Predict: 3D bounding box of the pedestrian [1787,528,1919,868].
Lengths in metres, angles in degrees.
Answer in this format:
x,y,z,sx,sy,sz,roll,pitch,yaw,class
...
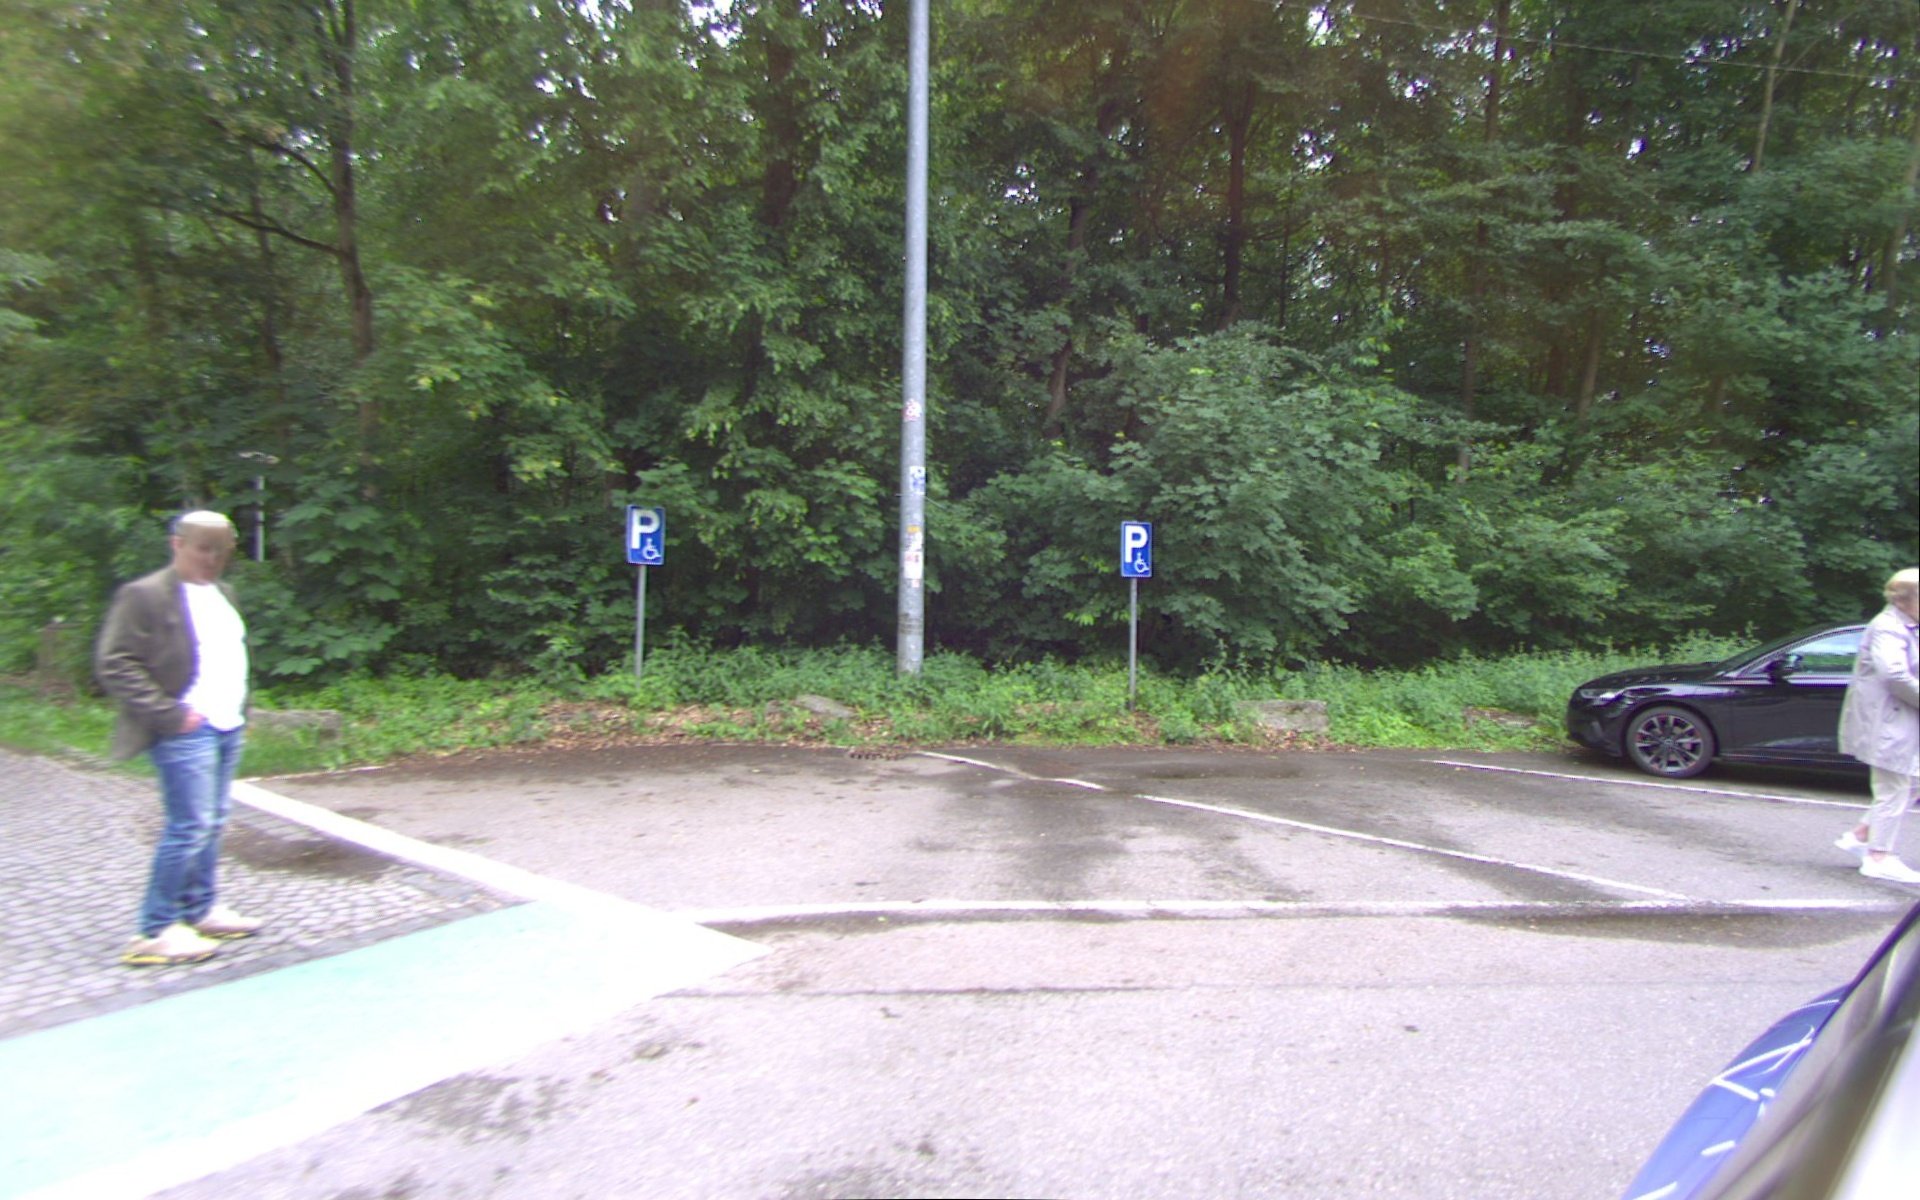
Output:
x,y,z,sx,sy,sz,roll,pitch,yaw,class
5.339,0.502,5.591,0.879,1.746,0.765,1,0,-3,pedestrian

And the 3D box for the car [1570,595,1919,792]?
x,y,z,sx,sy,sz,roll,pitch,yaw,class
7.814,0.732,8.668,4.188,1.481,1.871,1,0,42,car

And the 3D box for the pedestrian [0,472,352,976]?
x,y,z,sx,sy,sz,roll,pitch,yaw,class
-3.043,0.421,3.934,0.881,1.746,0.763,1,0,4,pedestrian
